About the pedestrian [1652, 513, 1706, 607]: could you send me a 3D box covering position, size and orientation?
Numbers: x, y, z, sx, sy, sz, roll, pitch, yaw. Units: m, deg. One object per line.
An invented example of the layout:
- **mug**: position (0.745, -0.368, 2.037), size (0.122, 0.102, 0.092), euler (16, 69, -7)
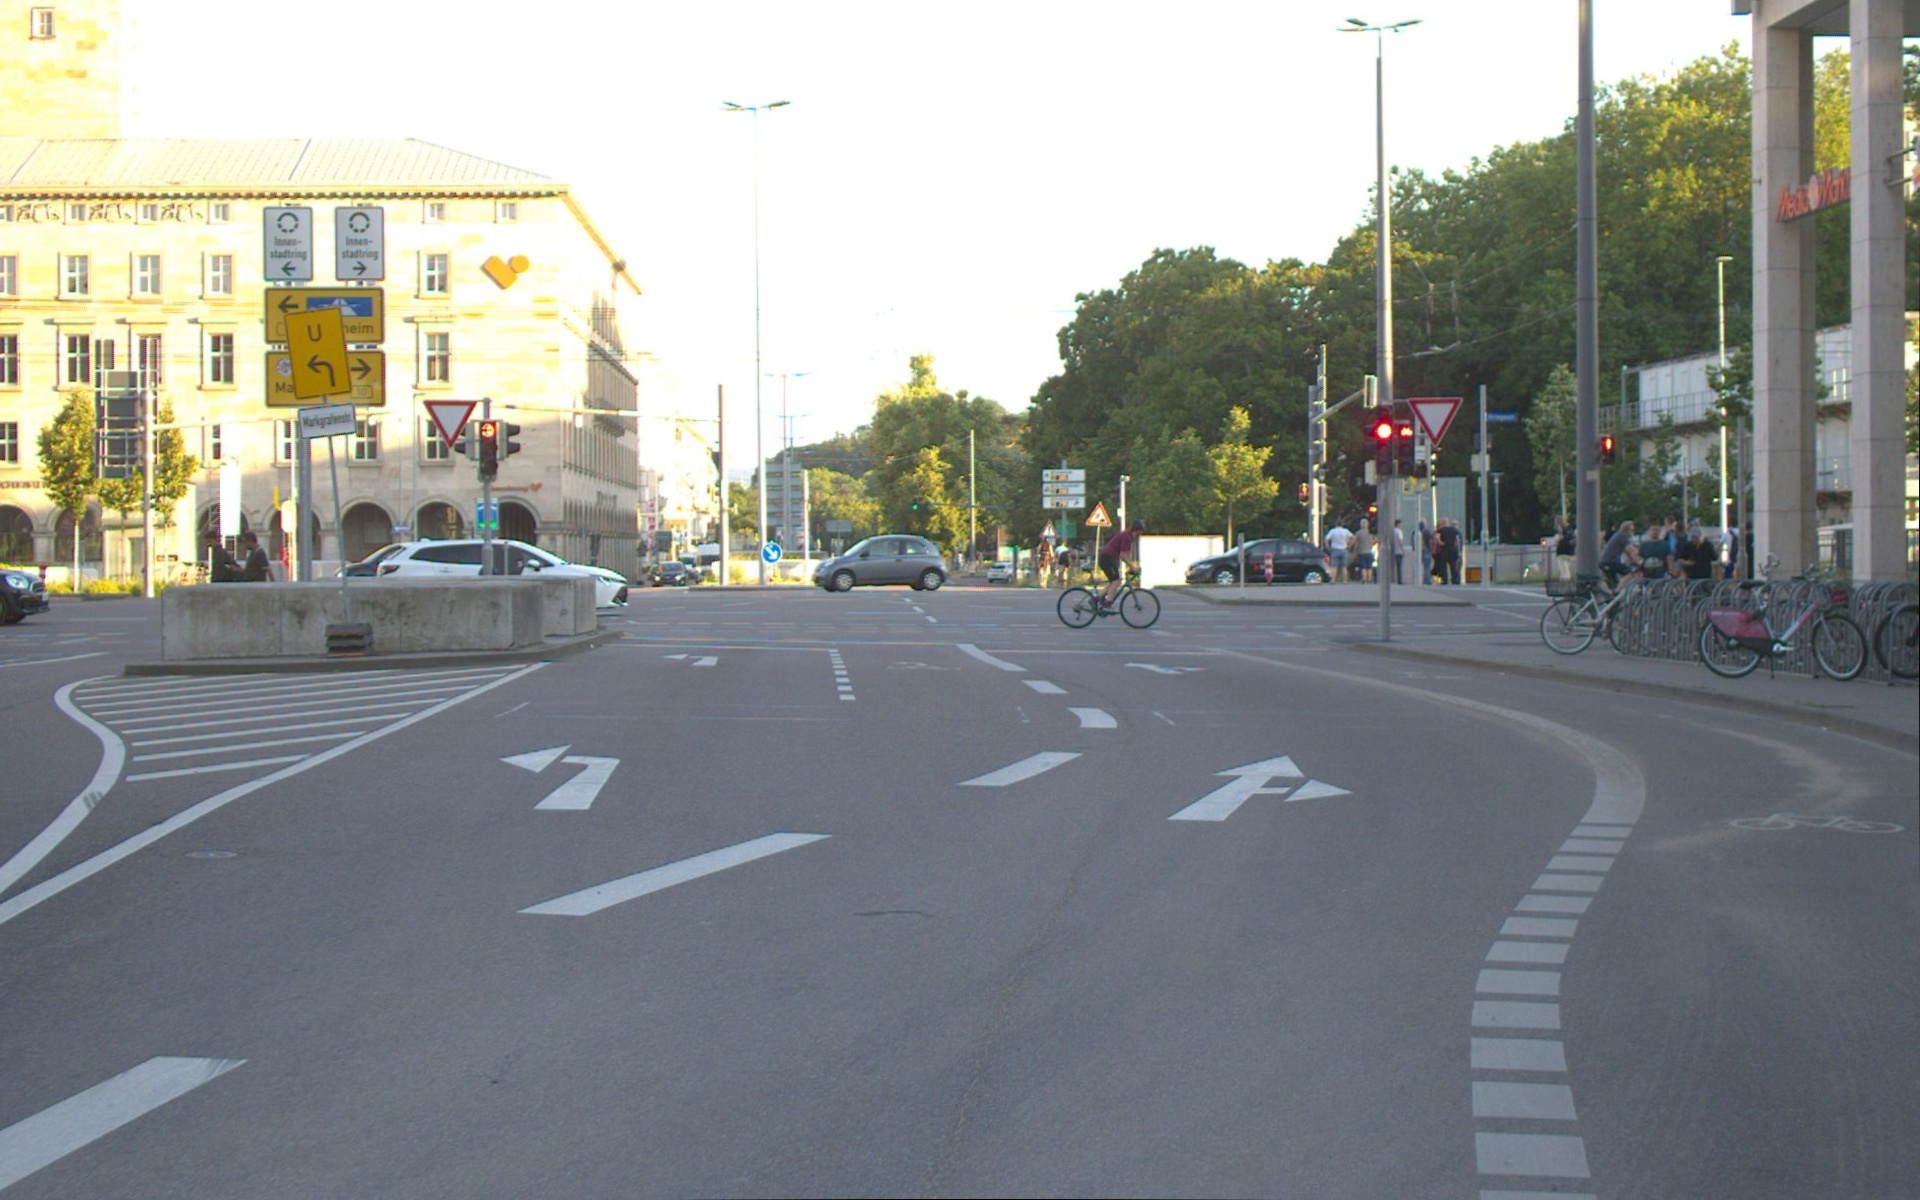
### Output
- **pedestrian**: position (13.356, -0.750, 63.882), size (0.893, 1.724, 0.688), euler (0, 1, 3)

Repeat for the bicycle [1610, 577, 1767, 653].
- **bicycle**: position (9.176, 0.187, 43.329), size (1.867, 0.933, 0.516), euler (0, 1, -3)

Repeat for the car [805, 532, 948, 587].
- **car**: position (-2.272, -1.110, 93.265), size (3.713, 1.448, 1.546), euler (0, 1, -8)

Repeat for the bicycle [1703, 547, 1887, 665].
- **bicycle**: position (9.390, 0.063, 38.700), size (1.867, 1.255, 0.674), euler (2, 1, -3)

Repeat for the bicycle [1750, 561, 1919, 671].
- **bicycle**: position (9.500, 0.171, 36.925), size (1.871, 1.109, 0.570), euler (2, 1, 1)

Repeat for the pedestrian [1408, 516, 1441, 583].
- **pedestrian**: position (11.987, -1.314, 88.650), size (0.808, 1.724, 0.687), euler (0, 1, 10)

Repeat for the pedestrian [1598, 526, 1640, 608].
- **pedestrian**: position (13.956, -0.698, 72.791), size (0.836, 1.724, 0.687), euler (0, 1, 14)

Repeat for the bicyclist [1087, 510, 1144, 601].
- **bicyclist**: position (2.611, -0.751, 57.836), size (0.879, 1.525, 0.653), euler (-1, 1, -3)

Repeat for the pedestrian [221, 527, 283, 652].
- **pedestrian**: position (-10.175, -0.162, 49.402), size (0.738, 1.771, 0.864), euler (-1, 1, -18)

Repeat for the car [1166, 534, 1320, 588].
- **car**: position (7.868, -1.097, 95.678), size (3.974, 1.448, 1.546), euler (-1, 1, -14)

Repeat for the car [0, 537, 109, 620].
- **car**: position (-18.194, -0.398, 63.532), size (4.460, 1.490, 2.128), euler (0, 1, -2)

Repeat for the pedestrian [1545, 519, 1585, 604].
- **pedestrian**: position (12.362, -0.783, 70.230), size (0.692, 1.724, 0.741), euler (0, 1, 0)

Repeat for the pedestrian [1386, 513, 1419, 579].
- **pedestrian**: position (11.507, -1.408, 89.384), size (0.808, 1.724, 0.687), euler (0, 1, 10)

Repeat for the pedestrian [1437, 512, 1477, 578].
- **pedestrian**: position (12.972, -1.433, 89.713), size (0.685, 1.724, 0.811), euler (-1, 1, -28)

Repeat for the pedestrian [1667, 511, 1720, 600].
- **pedestrian**: position (14.237, -0.864, 66.750), size (0.893, 1.724, 0.688), euler (0, 1, 2)

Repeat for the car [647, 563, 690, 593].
- **car**: position (-15.627, -1.199, 184.676), size (1.993, 1.514, 4.000), euler (-1, 1, -1)

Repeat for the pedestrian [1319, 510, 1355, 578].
- **pedestrian**: position (9.681, -1.438, 88.241), size (0.808, 1.724, 0.688), euler (0, 1, -4)

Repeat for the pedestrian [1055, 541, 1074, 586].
- **pedestrian**: position (3.267, -1.145, 107.419), size (0.522, 1.369, 0.688), euler (0, 1, -6)

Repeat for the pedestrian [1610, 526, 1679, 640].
- **pedestrian**: position (10.944, -0.276, 54.989), size (0.860, 1.771, 0.741), euler (-3, 1, -1)

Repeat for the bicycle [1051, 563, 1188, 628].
- **bicycle**: position (2.672, -0.080, 57.846), size (2.242, 1.058, 0.653), euler (-1, 1, -3)

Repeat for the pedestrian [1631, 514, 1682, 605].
- **pedestrian**: position (13.300, -0.779, 65.648), size (0.893, 1.724, 0.688), euler (0, 1, 5)

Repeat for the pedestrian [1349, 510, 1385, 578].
- **pedestrian**: position (10.449, -1.446, 88.322), size (0.808, 1.724, 0.688), euler (0, 1, -4)

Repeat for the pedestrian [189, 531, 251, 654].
- **pedestrian**: position (-10.788, -0.113, 50.130), size (0.738, 1.771, 0.864), euler (0, 1, -22)

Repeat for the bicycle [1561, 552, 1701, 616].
- **bicycle**: position (11.383, -0.279, 58.359), size (2.242, 1.058, 0.653), euler (0, 1, 0)

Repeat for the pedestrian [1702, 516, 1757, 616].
- **pedestrian**: position (14.270, -0.632, 63.778), size (0.893, 1.834, 0.688), euler (0, 1, 2)

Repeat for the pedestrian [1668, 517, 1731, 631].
- **pedestrian**: position (11.816, -0.420, 54.957), size (0.756, 1.771, 0.741), euler (-3, 1, -1)

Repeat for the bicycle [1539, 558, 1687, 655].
- **bicycle**: position (8.297, 0.076, 43.690), size (1.818, 1.208, 0.570), euler (0, 1, 14)

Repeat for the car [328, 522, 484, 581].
- **car**: position (-14.536, -1.284, 90.296), size (3.986, 1.489, 1.829), euler (-1, 1, -8)

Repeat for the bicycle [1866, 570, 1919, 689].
- **bicycle**: position (9.572, 0.304, 32.522), size (1.817, 1.096, 0.600), euler (2, 1, 6)

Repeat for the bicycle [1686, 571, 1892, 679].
- **bicycle**: position (8.161, 0.240, 33.875), size (1.898, 1.044, 0.570), euler (0, 1, 3)

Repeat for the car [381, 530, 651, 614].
- **car**: position (-8.181, -0.532, 63.732), size (4.796, 1.490, 2.128), euler (0, 1, -2)

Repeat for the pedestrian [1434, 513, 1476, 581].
- **pedestrian**: position (12.779, -1.373, 88.786), size (0.808, 1.724, 0.688), euler (-1, 1, -29)

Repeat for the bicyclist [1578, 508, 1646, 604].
- **bicyclist**: position (11.070, -0.751, 58.353), size (1.019, 1.615, 0.653), euler (0, 1, 0)
